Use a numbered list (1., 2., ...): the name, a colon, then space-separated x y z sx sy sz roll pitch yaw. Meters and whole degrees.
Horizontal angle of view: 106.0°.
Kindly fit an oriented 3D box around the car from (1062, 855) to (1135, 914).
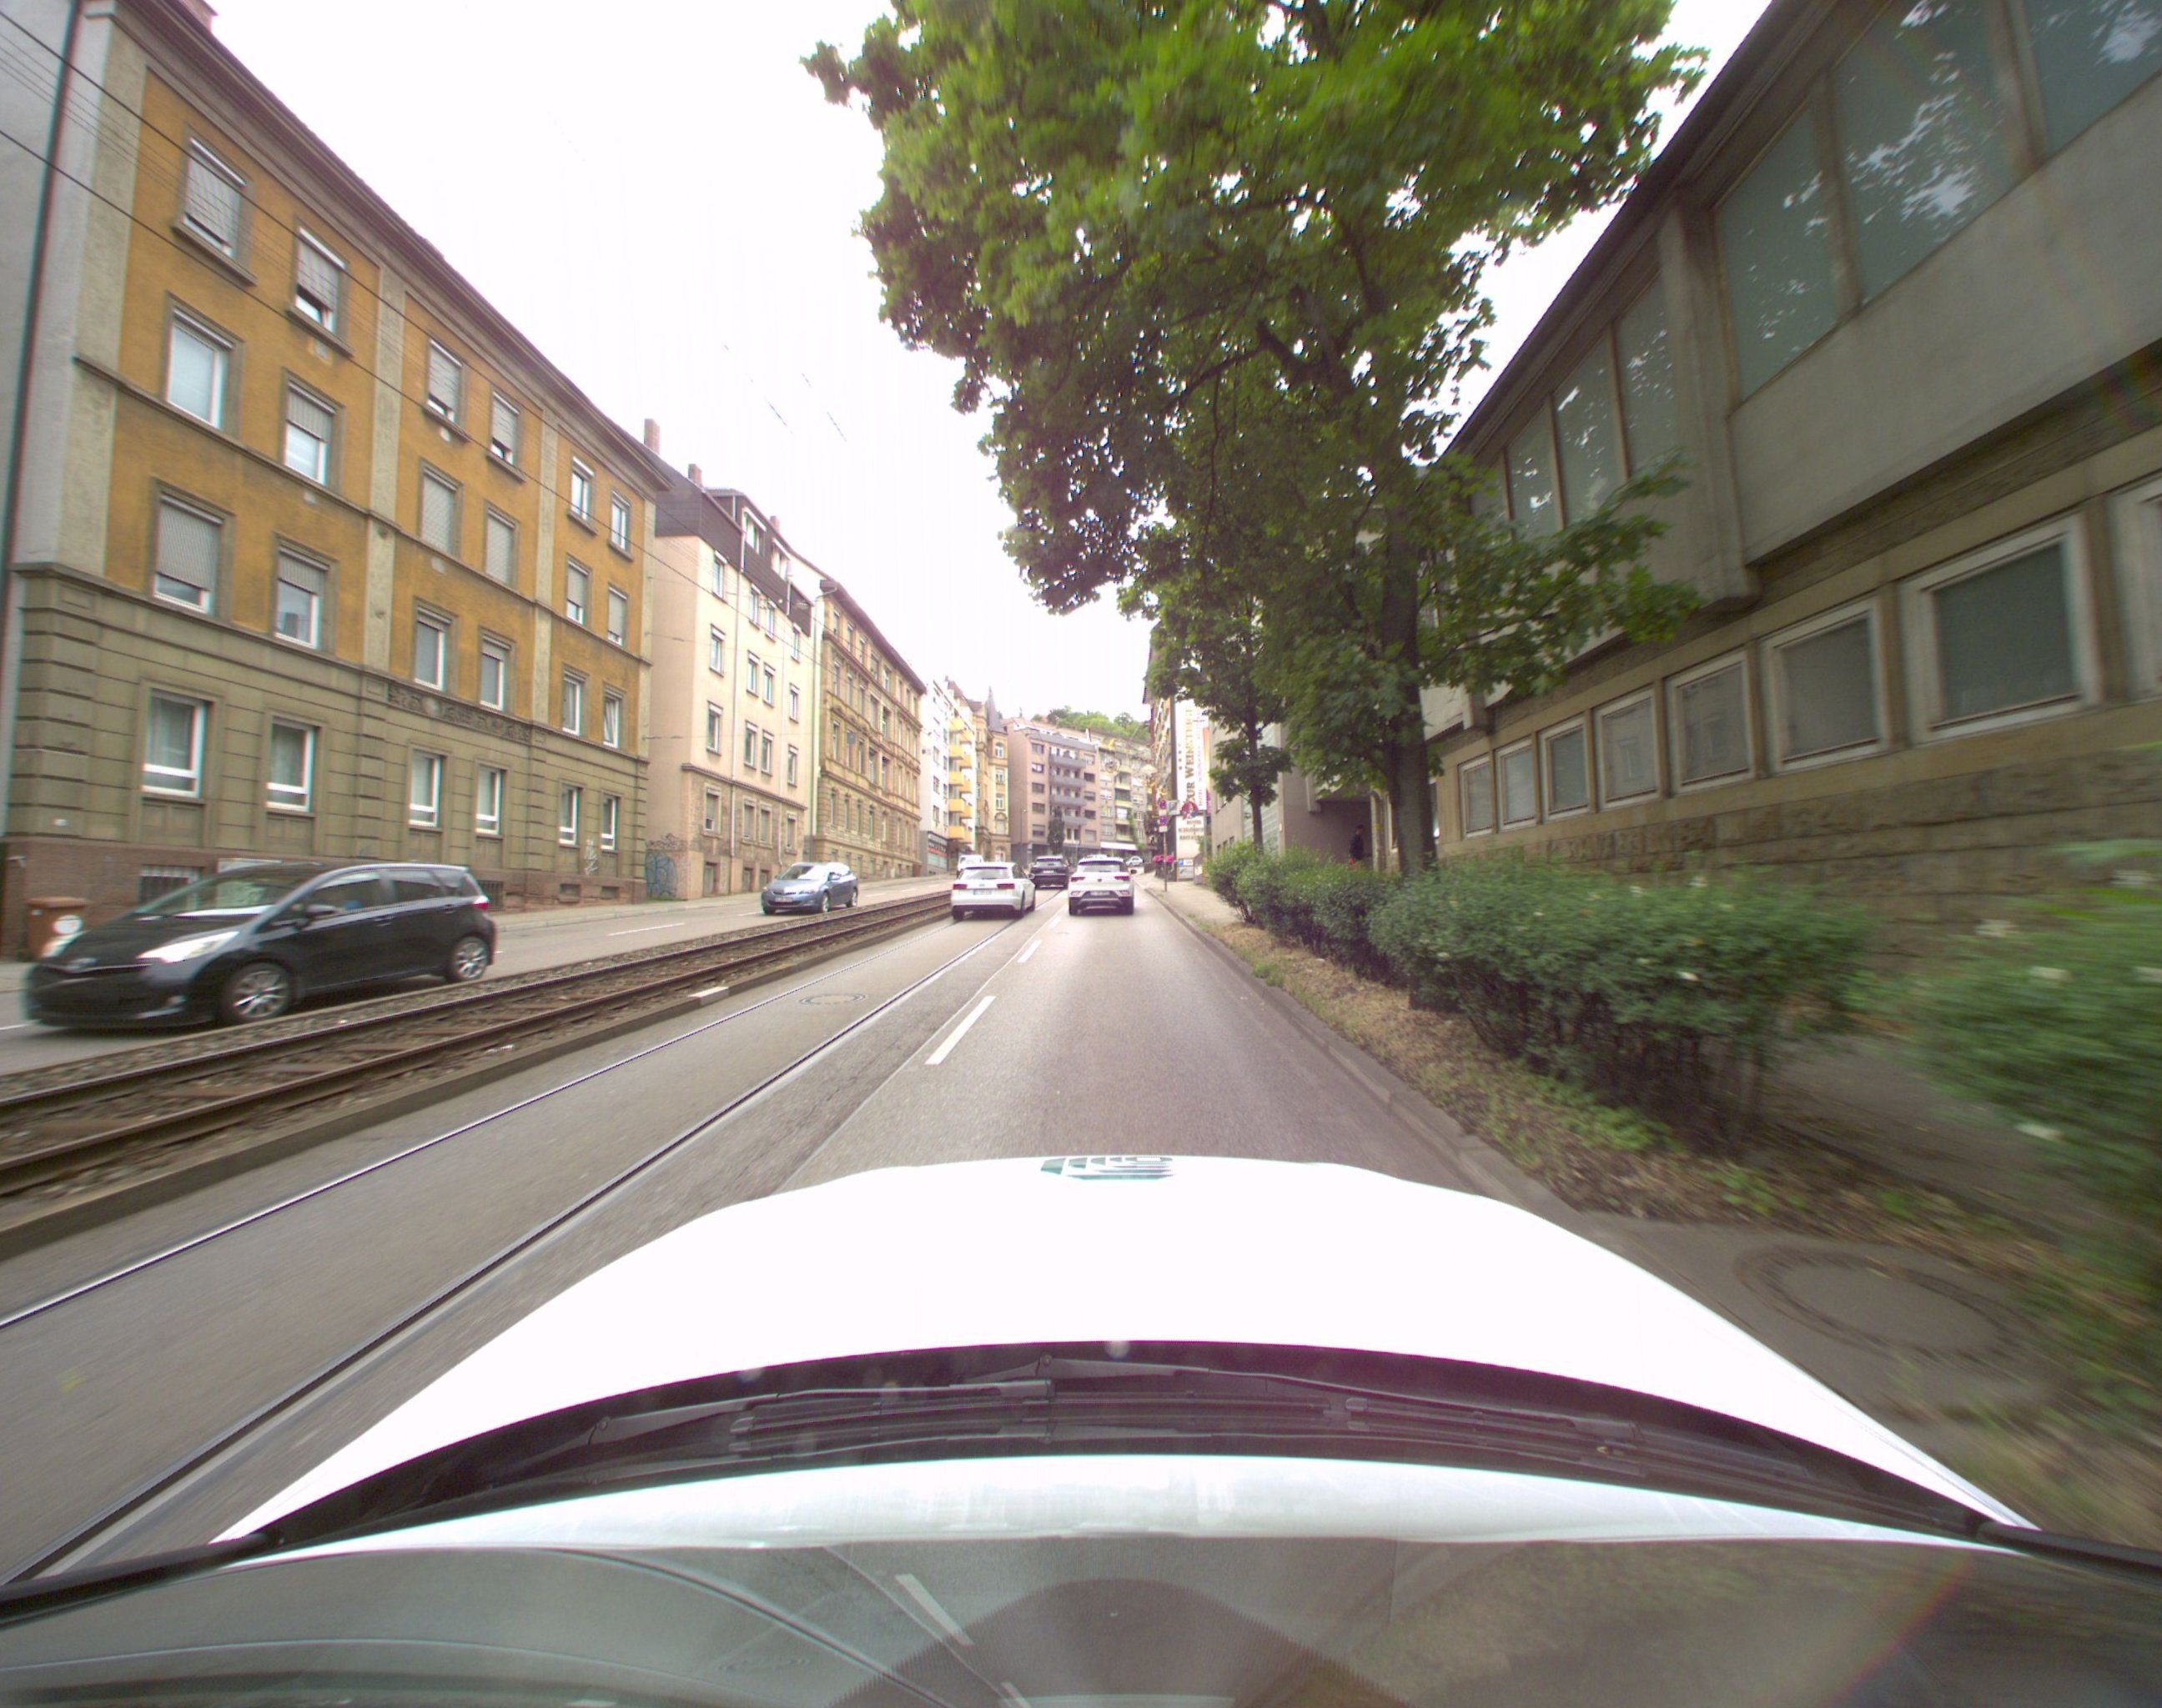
1. car: 0.594 0.813 23.403 1.870 1.554 4.004 -1 0 4

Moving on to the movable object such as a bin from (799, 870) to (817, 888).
1. movable object such as a bin: -14.025 1.275 41.789 0.626 0.911 0.677 3 0 2

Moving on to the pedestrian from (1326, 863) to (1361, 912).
1. pedestrian: 5.238 0.663 16.285 0.523 0.965 0.608 -1 0 2

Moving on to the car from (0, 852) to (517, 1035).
1. car: -8.668 0.799 9.180 1.736 1.596 3.971 -1 0 2

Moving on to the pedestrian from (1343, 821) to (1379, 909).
1. pedestrian: 6.083 0.238 17.690 0.605 1.875 0.595 -1 -1 29

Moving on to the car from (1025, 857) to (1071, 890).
1. car: -1.603 0.937 41.332 2.030 1.571 4.359 -1 0 1

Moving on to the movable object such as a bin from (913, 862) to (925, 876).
1. movable object such as a bin: -12.886 1.219 64.744 0.767 1.074 0.561 -1 0 2

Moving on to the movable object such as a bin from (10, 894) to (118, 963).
1. movable object such as a bin: -15.054 1.089 12.073 0.776 0.947 0.654 -1 0 2

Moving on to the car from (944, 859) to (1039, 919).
1. car: -2.324 0.871 22.441 1.871 1.455 4.620 -1 0 3

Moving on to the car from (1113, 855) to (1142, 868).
1. car: 6.937 1.096 121.800 1.885 1.922 4.463 -1 0 42

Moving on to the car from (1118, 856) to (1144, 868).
1. car: 7.249 1.173 117.856 1.776 1.728 4.025 -1 0 37

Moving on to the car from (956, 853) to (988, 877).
1. car: -8.794 0.865 66.093 1.951 1.900 5.315 -1 0 -1

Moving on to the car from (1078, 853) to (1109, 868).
1. car: 1.815 0.916 116.682 1.974 2.035 4.731 -1 0 40

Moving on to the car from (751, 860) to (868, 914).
1. car: -8.137 0.941 24.906 1.836 1.455 4.663 -1 0 2
